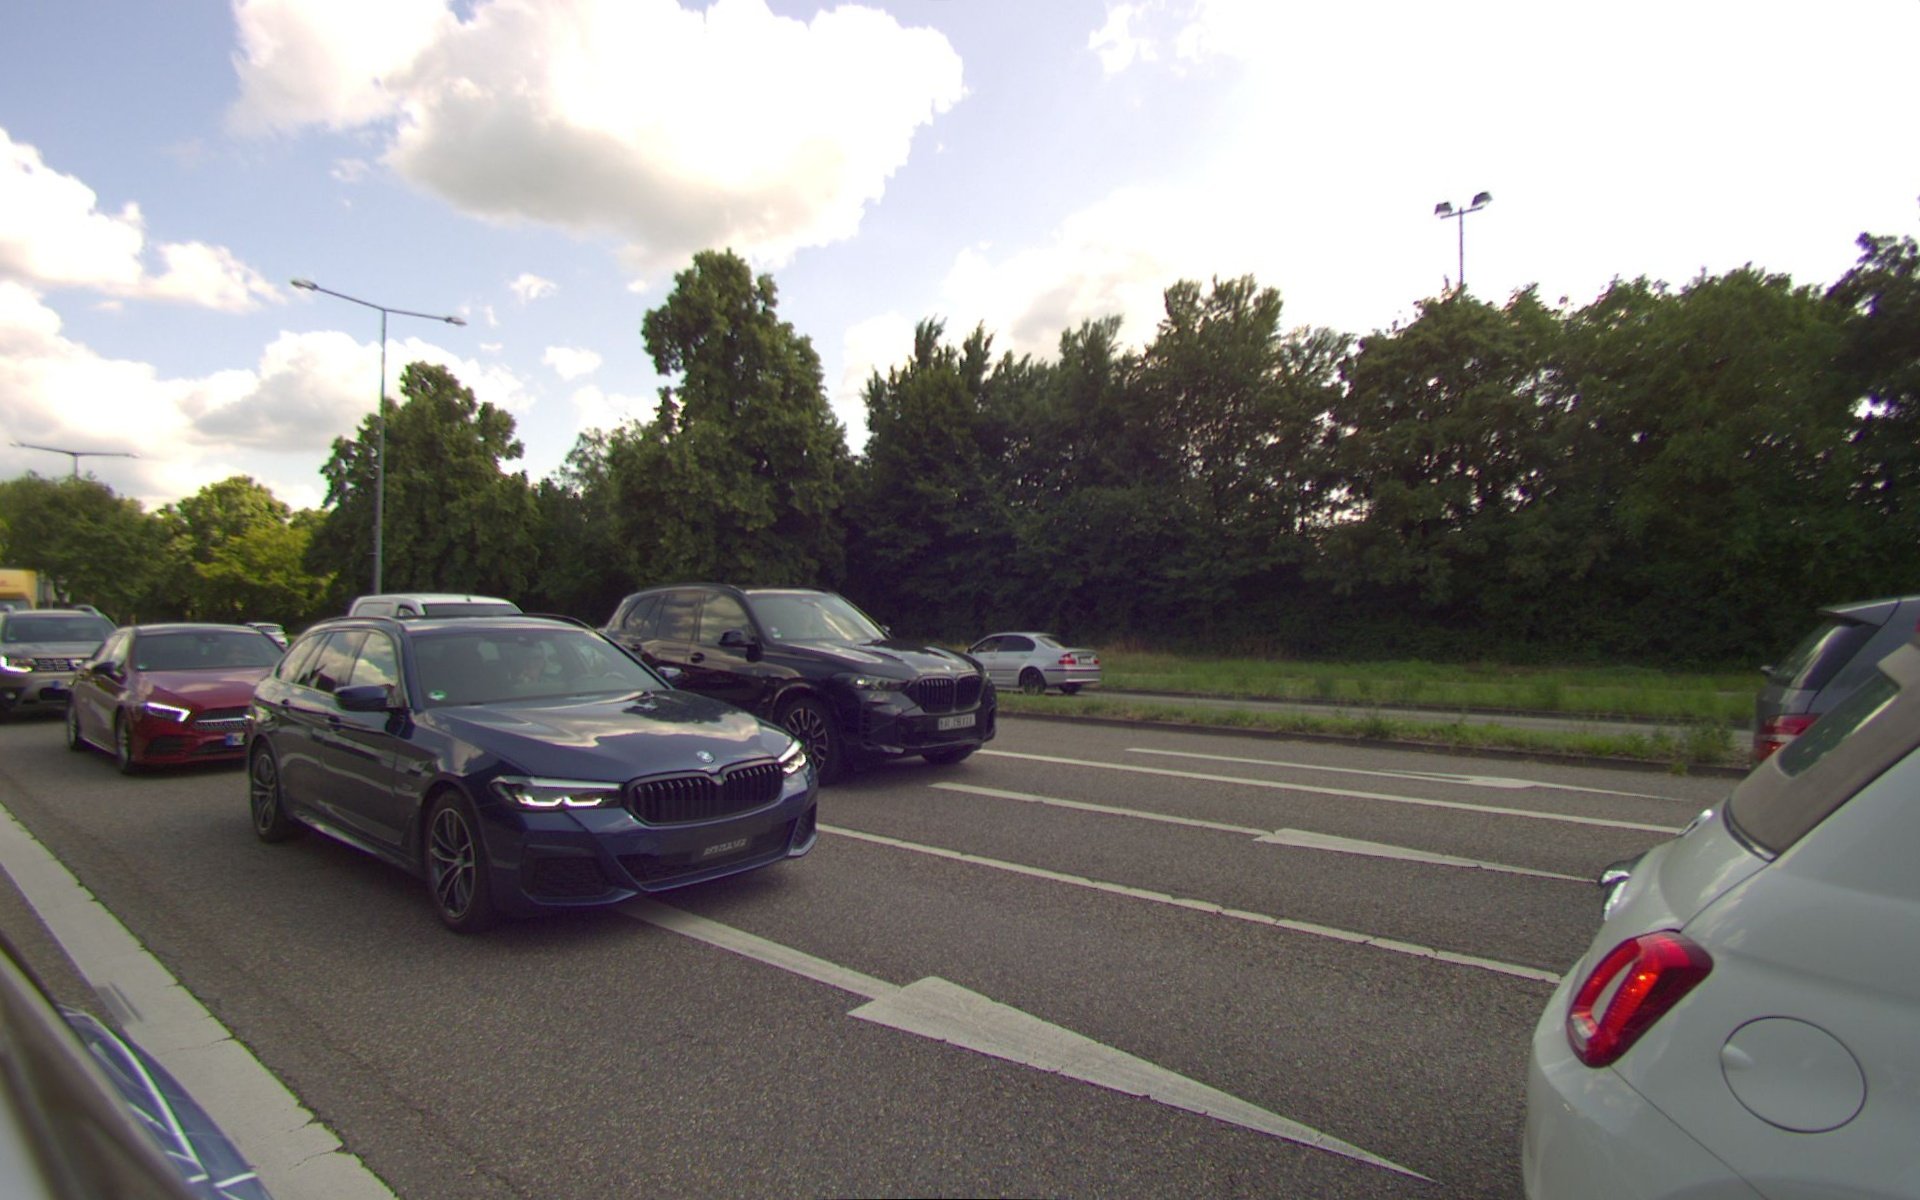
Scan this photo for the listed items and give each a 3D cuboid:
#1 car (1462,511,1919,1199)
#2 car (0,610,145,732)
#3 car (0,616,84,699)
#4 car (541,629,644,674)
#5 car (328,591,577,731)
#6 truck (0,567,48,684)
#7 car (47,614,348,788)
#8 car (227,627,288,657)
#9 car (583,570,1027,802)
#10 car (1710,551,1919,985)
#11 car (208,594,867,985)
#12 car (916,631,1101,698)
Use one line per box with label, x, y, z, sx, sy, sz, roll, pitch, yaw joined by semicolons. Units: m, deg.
car;2.626;0.626;1.002;3.538;1.508;1.553;-1;0;41
car;-13.919;0.973;15.375;4.174;1.624;1.705;-1;-1;41
car;-19.371;1.112;20.677;3.892;1.542;1.705;-1;0;41
car;-12.871;1.750;35.341;3.998;1.397;1.650;-1;0;41
car;-7.830;0.824;15.392;4.728;1.812;1.747;-1;-1;41
truck;-26.385;0.696;26.947;6.963;2.881;2.333;-1;-1;41
car;-8.339;0.916;10.901;4.533;1.473;1.705;-1;0;41
car;-35.938;2.129;51.746;3.998;1.397;1.650;-1;0;41
car;-1.692;0.683;9.876;4.547;1.759;1.794;-1;-1;41
car;5.317;0.621;3.414;4.358;1.631;1.681;-1;-1;41
car;-2.897;0.755;6.215;4.871;1.508;1.778;-1;0;41
car;1.071;1.468;23.870;4.236;1.398;1.650;-1;-3;41
